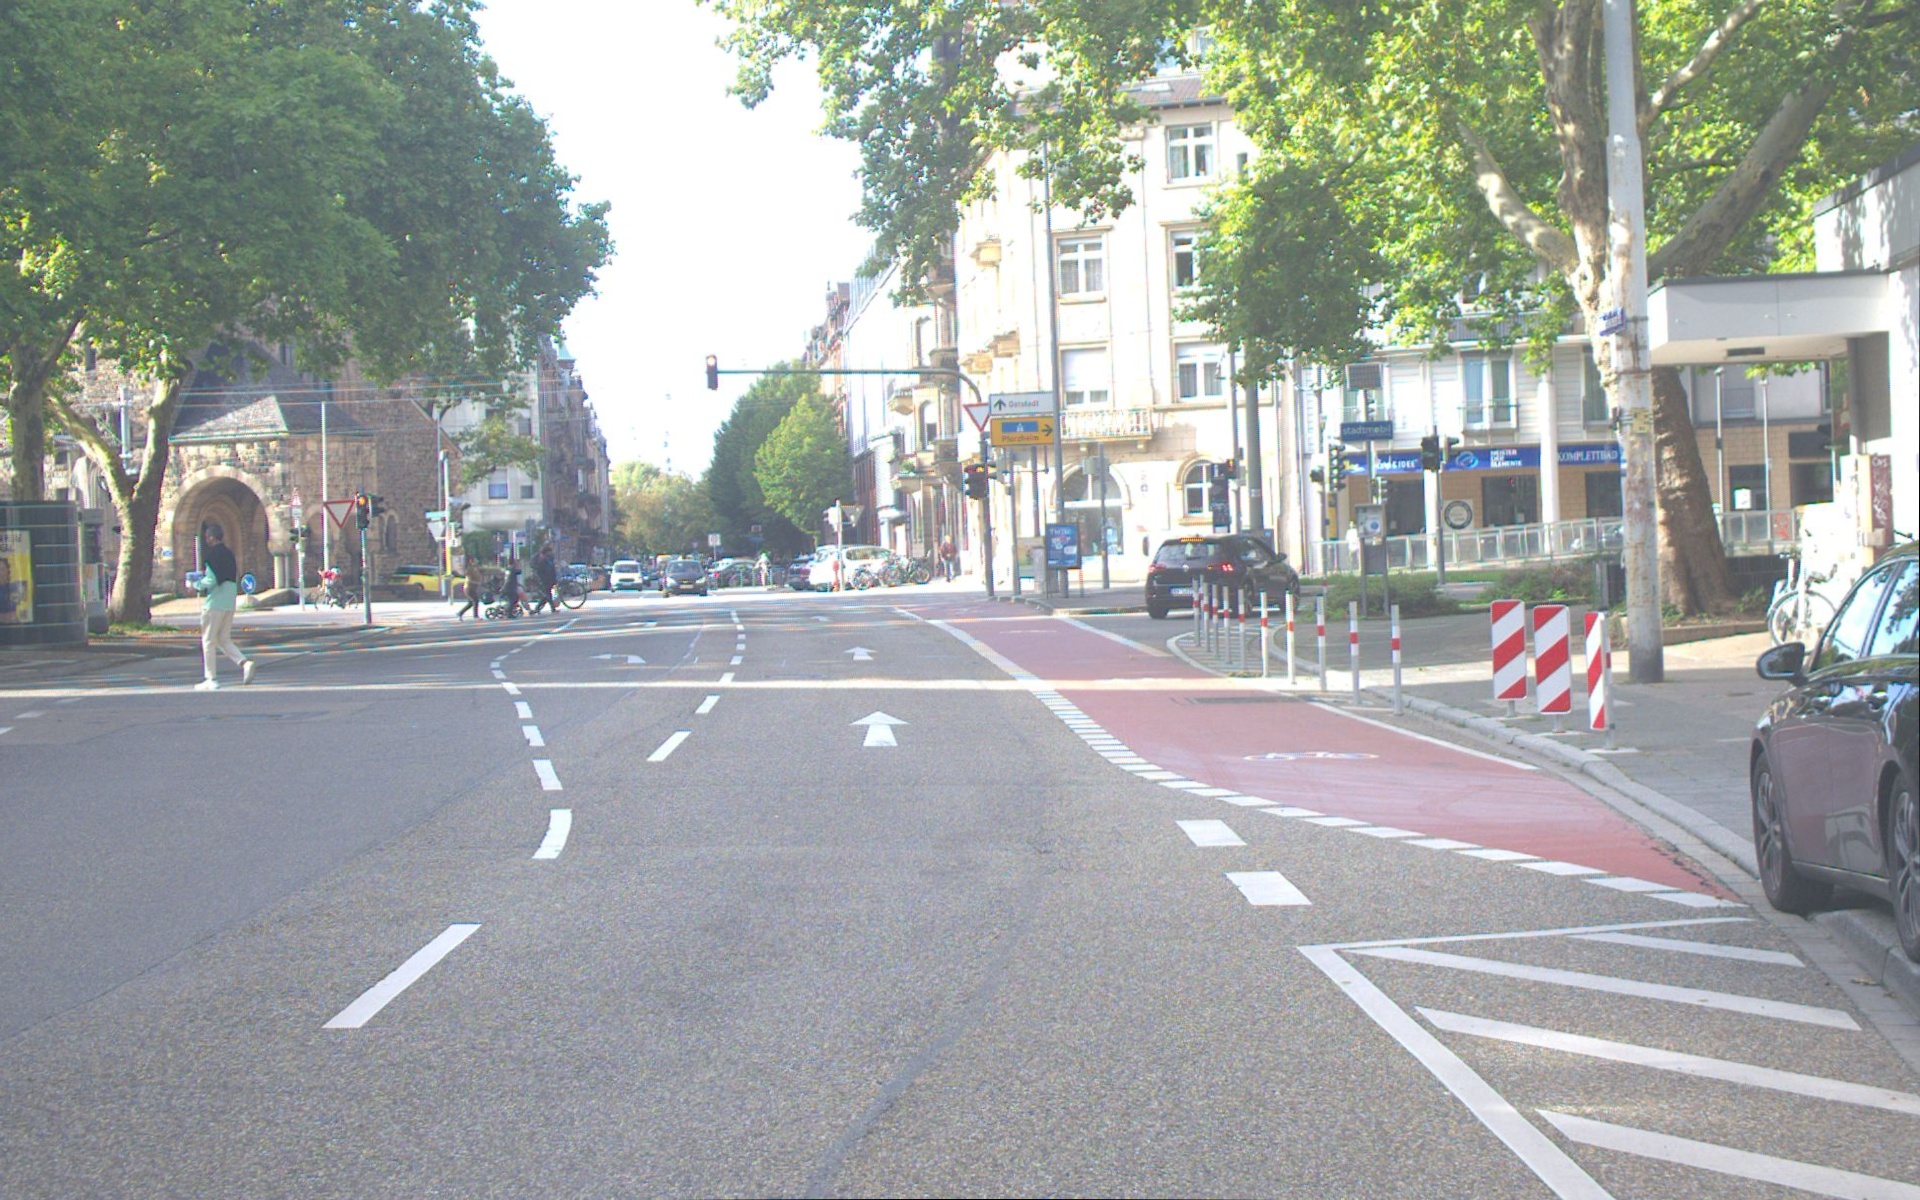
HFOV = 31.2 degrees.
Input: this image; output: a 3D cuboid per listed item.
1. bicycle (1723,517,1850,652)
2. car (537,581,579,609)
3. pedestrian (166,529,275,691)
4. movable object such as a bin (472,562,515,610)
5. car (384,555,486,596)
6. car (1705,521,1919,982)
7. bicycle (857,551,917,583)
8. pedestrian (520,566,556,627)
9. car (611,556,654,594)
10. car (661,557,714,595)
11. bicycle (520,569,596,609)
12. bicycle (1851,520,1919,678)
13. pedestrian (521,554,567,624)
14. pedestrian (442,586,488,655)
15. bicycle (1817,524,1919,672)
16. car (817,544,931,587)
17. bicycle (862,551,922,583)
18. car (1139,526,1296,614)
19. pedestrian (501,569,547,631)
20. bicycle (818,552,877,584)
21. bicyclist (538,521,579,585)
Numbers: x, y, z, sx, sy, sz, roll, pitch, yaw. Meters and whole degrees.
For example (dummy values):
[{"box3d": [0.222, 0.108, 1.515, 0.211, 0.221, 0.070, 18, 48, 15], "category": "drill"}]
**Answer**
[{"box3d": [7.966, -0.154, 33.200, 0.712, 1.202, 1.815, -5, 0, 1], "category": "bicycle"}, {"box3d": [-18.618, -0.230, 159.287, 1.550, 1.225, 3.588, -1, 1, -1], "category": "car"}, {"box3d": [-8.181, 0.096, 38.003, 1.074, 1.747, 0.919, -1, 1, -17], "category": "pedestrian"}, {"box3d": [-11.305, -0.351, 83.311, 0.838, 1.120, 0.575, -2, 1, 19], "category": "movable object such as a bin"}, {"box3d": [-22.819, -1.059, 149.549, 3.989, 1.590, 1.868, -3, 2, -43], "category": "car"}, {"box3d": [3.926, 0.417, 12.230, 1.761, 1.407, 4.233, -3, 1, 3], "category": "car"}, {"box3d": [-2.653, -1.206, 124.832, 2.022, 1.078, 0.631, -3, 1, -13], "category": "bicycle"}, {"box3d": [-10.141, -0.079, 82.708, 0.655, 1.427, 0.498, -2, 1, 19], "category": "pedestrian"}, {"box3d": [-18.150, -1.401, 190.799, 1.993, 2.007, 4.000, -2, 1, -1], "category": "car"}, {"box3d": [-10.606, -0.952, 133.988, 1.949, 1.367, 4.001, -2, 1, -4], "category": "car"}, {"box3d": [-10.250, -0.281, 87.598, 1.832, 0.952, 0.572, -2, 1, 22], "category": "bicycle"}, {"box3d": [7.766, -0.036, 27.567, 0.769, 1.202, 1.815, -4, 1, 2], "category": "bicycle"}, {"box3d": [-10.110, -0.276, 83.623, 0.781, 1.656, 0.778, -2, 1, 19], "category": "pedestrian"}, {"box3d": [-12.047, 0.499, 83.610, 0.815, 1.623, 0.604, -3, 1, 21], "category": "pedestrian"}, {"box3d": [7.887, -0.033, 29.390, 0.711, 1.202, 1.771, -2, 1, 2], "category": "bicycle"}, {"box3d": [-3.175, -1.268, 126.532, 3.986, 1.415, 2.000, -2, 1, -7], "category": "car"}, {"box3d": [-2.460, -1.204, 124.210, 2.022, 1.078, 0.620, -3, 1, -13], "category": "bicycle"}, {"box3d": [4.479, -0.546, 59.329, 1.753, 1.409, 3.997, -1, 1, 19], "category": "car"}, {"box3d": [-10.411, -0.004, 82.157, 0.782, 1.427, 0.730, -2, 1, 21], "category": "pedestrian"}, {"box3d": [-4.055, -1.160, 124.091, 2.022, 1.078, 0.620, -3, 1, -13], "category": "bicycle"}, {"box3d": [-10.232, -1.197, 87.589, 0.779, 1.574, 0.625, -2, 1, 22], "category": "bicyclist"}]
